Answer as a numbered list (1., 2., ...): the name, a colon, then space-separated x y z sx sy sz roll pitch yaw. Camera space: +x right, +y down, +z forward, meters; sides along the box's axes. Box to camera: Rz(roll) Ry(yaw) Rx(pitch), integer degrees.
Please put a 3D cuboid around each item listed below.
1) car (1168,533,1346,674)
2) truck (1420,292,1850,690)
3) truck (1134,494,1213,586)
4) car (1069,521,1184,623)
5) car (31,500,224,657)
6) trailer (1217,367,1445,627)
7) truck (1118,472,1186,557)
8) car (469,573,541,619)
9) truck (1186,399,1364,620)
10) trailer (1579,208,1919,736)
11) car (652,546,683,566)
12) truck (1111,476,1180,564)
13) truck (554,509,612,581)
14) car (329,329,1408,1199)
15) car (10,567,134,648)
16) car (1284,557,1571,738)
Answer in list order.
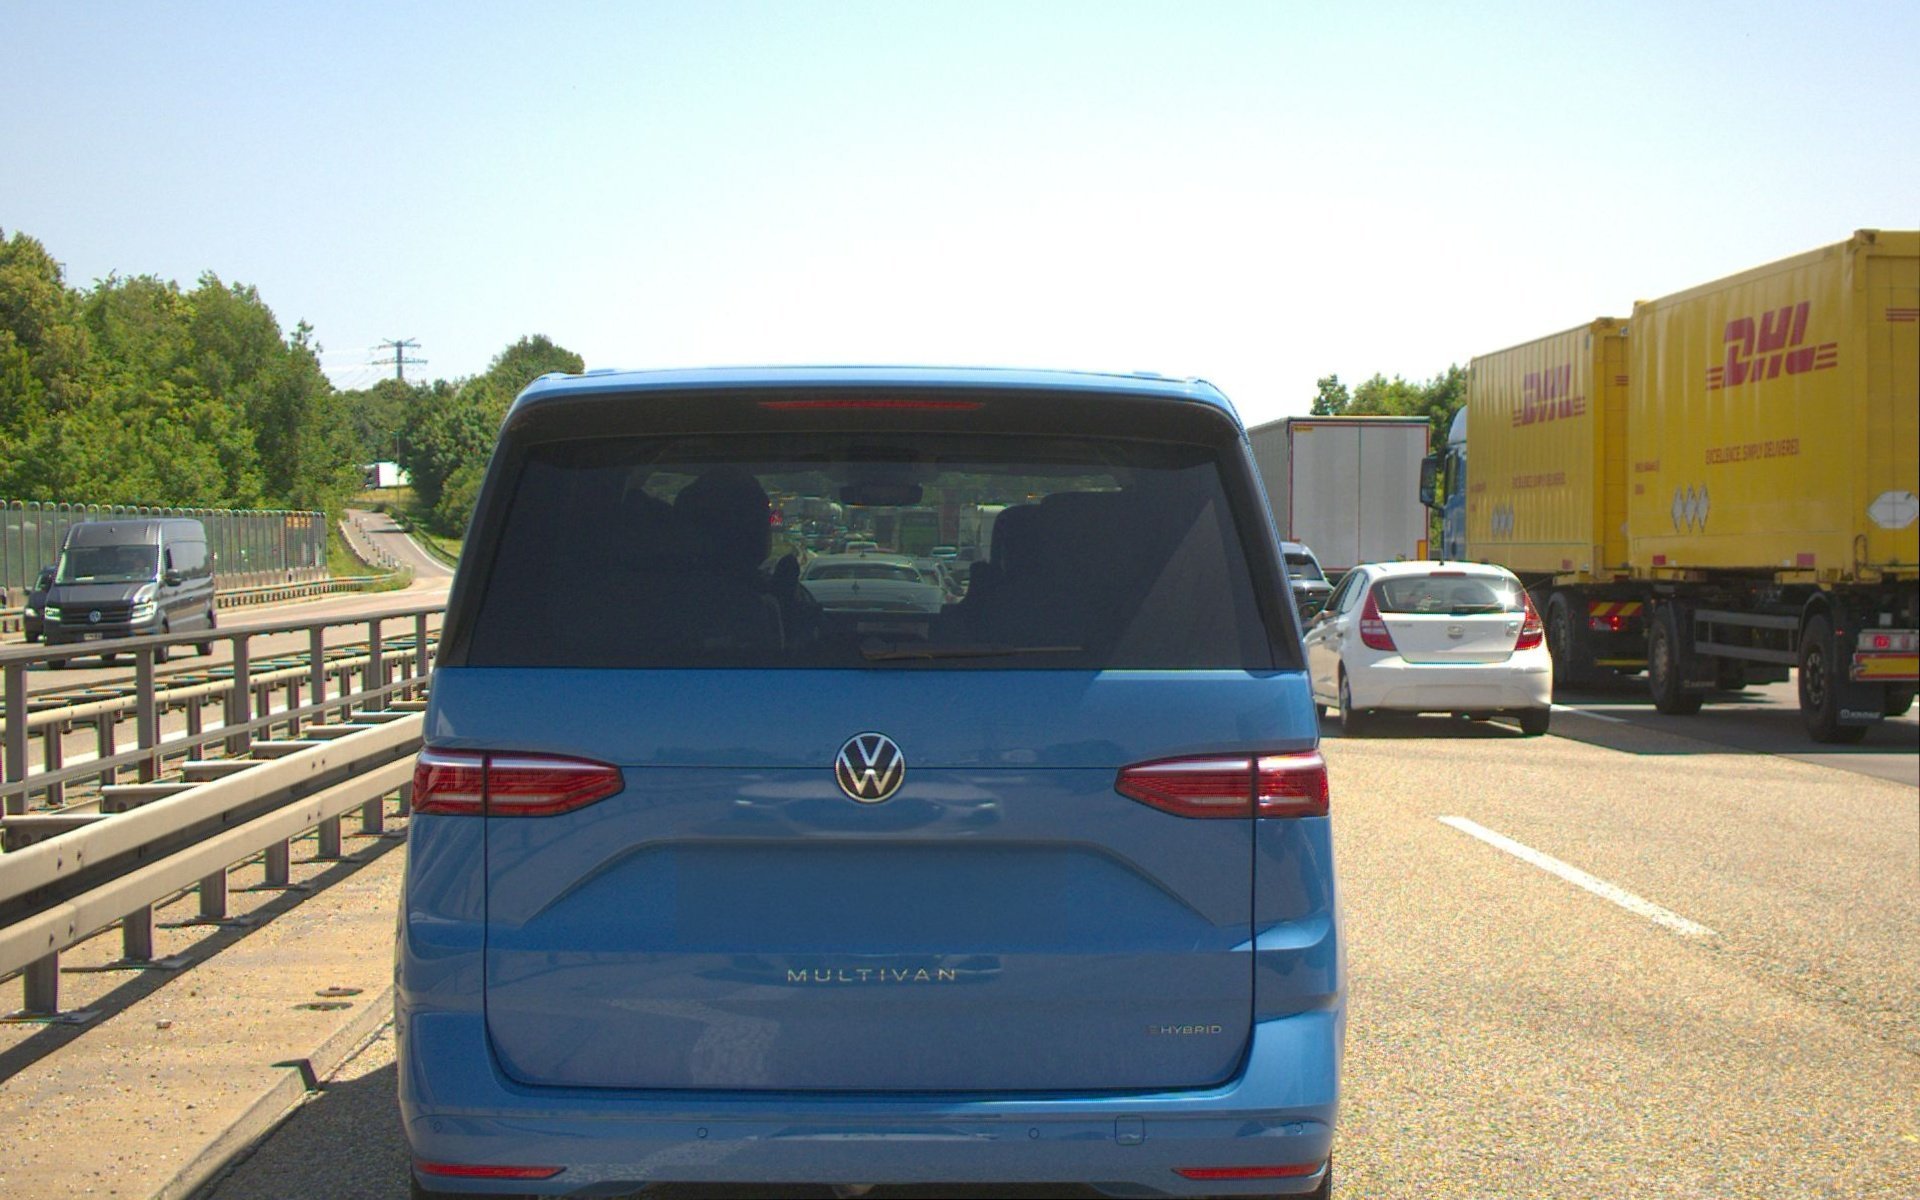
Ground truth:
1. car: 3.683 0.032 43.187 1.815 1.673 3.932 1 0 -1
2. truck: 7.648 -1.155 40.541 2.699 4.074 9.941 1 0 -2
3. truck: 5.837 -1.617 94.362 1.798 2.441 4.504 1 0 -1
4. car: 3.251 -0.544 67.847 1.962 1.929 3.932 1 0 -1
5. car: -14.801 -0.379 61.513 1.993 2.573 6.651 -2 0 -2
6. trailer: 7.016 -1.863 66.705 3.026 4.595 10.925 1 0 -1
7. truck: 6.044 -2.678 108.554 1.797 2.587 4.306 1 0 -1
8. car: -16.070 -0.167 121.611 1.993 1.539 4.386 -2 0 -1
9. truck: 6.878 -1.930 76.128 3.026 4.595 7.921 1 0 -1
10. trailer: 7.970 -1.002 31.125 2.682 4.074 8.981 1 0 -2
11. car: -21.098 -3.177 248.360 1.689 1.299 4.012 -3 0 2
12. truck: 5.537 -2.363 103.183 1.742 2.540 4.210 1 0 -1
13. truck: -22.521 -3.250 205.619 2.672 4.171 6.287 -1 0 1
14. car: -0.208 0.447 8.222 1.930 1.867 4.000 1 0 -1
15. car: -22.141 0.169 85.917 1.957 1.899 4.951 -2 0 -3
16. car: 4.031 0.379 30.255 1.815 1.465 3.932 1 0 -2
